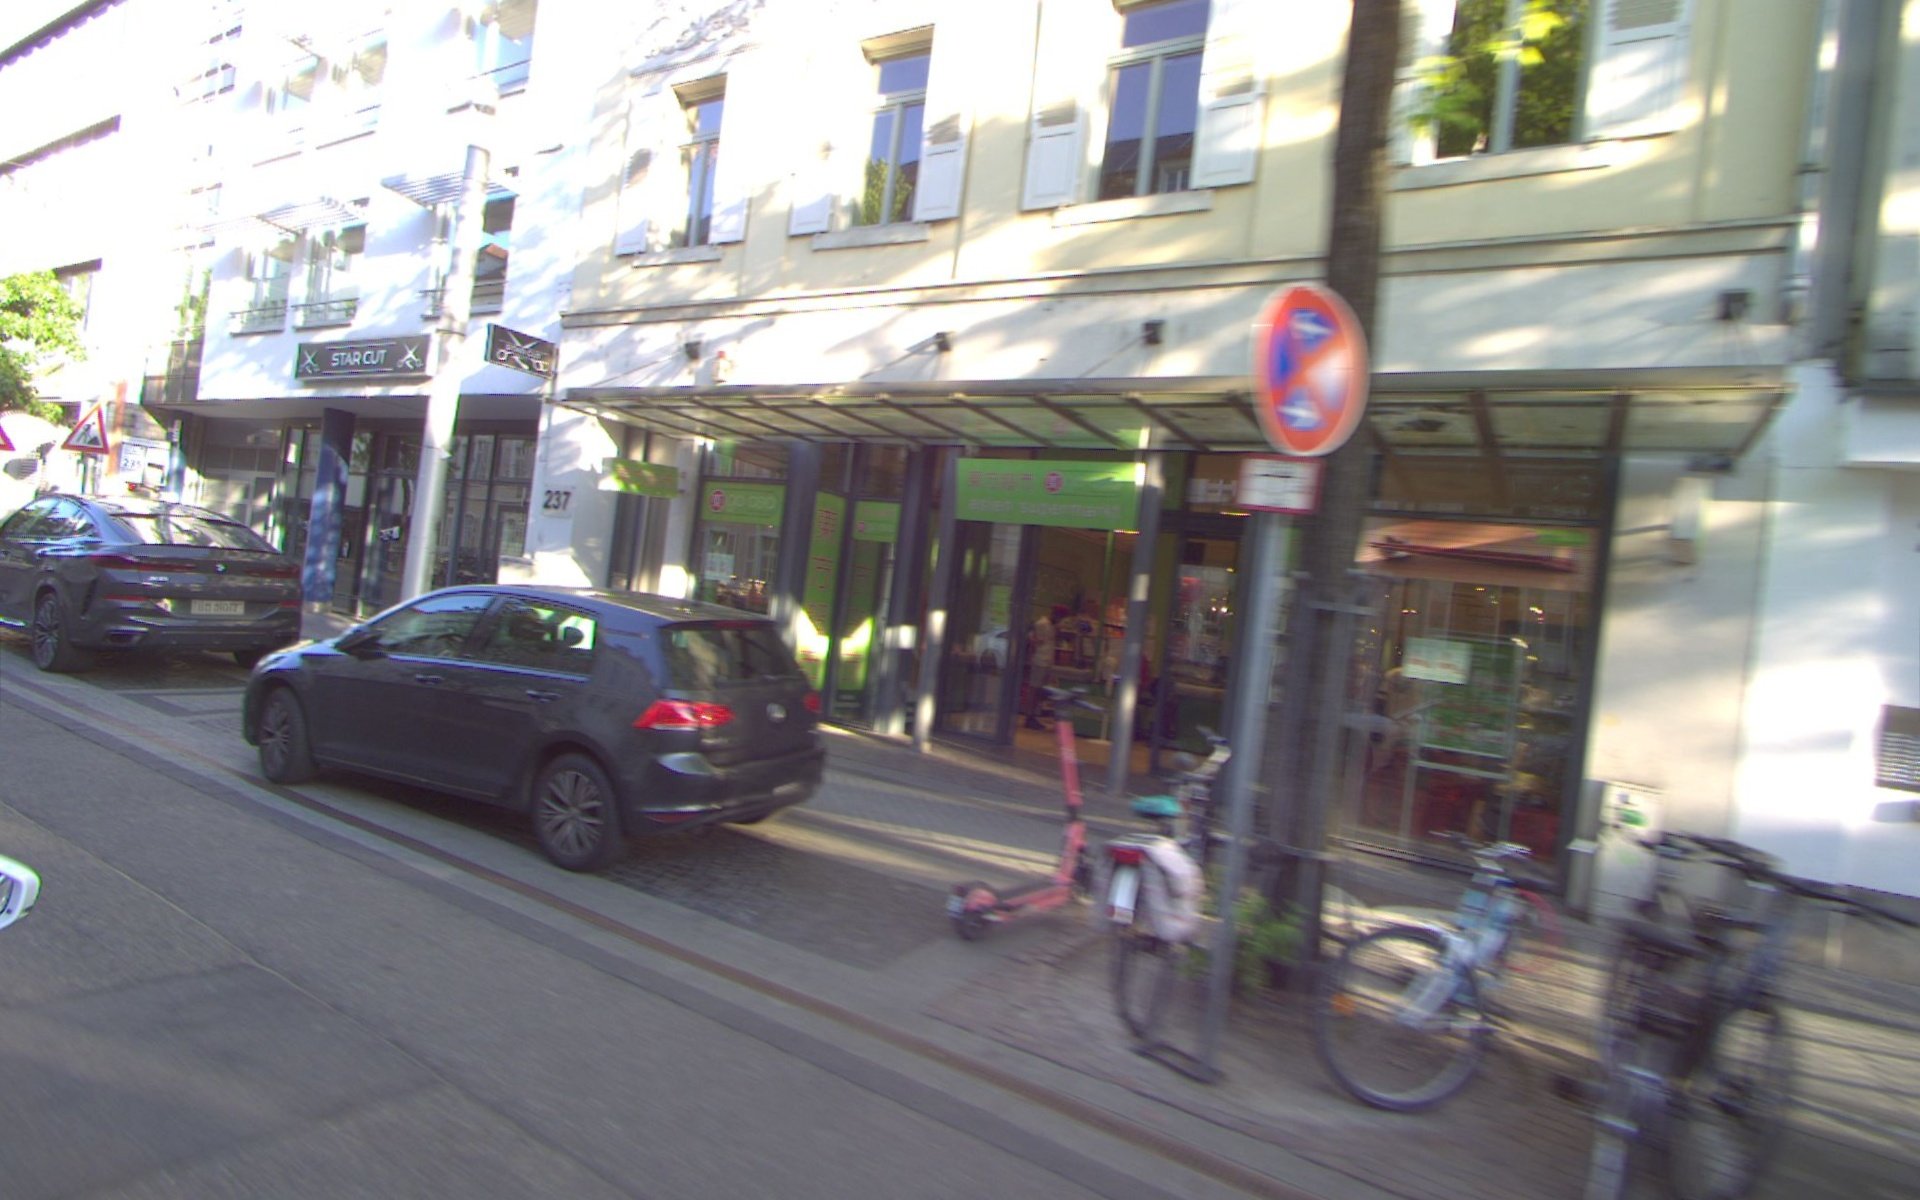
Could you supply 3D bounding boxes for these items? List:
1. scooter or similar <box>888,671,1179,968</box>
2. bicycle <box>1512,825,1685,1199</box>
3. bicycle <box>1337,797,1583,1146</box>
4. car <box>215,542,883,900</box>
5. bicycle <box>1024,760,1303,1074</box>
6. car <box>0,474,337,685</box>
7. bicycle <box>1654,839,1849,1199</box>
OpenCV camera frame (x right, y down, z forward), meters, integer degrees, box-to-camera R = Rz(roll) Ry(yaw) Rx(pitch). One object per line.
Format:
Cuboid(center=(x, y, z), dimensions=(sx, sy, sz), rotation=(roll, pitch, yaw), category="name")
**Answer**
Cuboid(center=(0.440, 1.044, 5.197), dimensions=(0.664, 1.211, 1.539), rotation=(7, -1, 36), category="scooter or similar")
Cuboid(center=(2.249, 1.371, 3.457), dimensions=(0.278, 0.976, 2.038), rotation=(7, -1, 37), category="bicycle")
Cuboid(center=(2.081, 1.373, 4.073), dimensions=(0.489, 0.976, 1.538), rotation=(7, -1, 39), category="bicycle")
Cuboid(center=(-2.727, 0.584, 6.642), dimensions=(3.929, 1.455, 1.840), rotation=(7, 2, 26), category="car")
Cuboid(center=(0.942, 1.245, 4.330), dimensions=(0.488, 0.976, 1.539), rotation=(7, -1, 36), category="bicycle")
Cuboid(center=(-9.137, -0.305, 10.909), dimensions=(4.785, 1.734, 1.997), rotation=(7, -1, 32), category="car")
Cuboid(center=(2.658, 1.432, 3.451), dimensions=(0.327, 0.976, 1.897), rotation=(7, -1, 37), category="bicycle")
